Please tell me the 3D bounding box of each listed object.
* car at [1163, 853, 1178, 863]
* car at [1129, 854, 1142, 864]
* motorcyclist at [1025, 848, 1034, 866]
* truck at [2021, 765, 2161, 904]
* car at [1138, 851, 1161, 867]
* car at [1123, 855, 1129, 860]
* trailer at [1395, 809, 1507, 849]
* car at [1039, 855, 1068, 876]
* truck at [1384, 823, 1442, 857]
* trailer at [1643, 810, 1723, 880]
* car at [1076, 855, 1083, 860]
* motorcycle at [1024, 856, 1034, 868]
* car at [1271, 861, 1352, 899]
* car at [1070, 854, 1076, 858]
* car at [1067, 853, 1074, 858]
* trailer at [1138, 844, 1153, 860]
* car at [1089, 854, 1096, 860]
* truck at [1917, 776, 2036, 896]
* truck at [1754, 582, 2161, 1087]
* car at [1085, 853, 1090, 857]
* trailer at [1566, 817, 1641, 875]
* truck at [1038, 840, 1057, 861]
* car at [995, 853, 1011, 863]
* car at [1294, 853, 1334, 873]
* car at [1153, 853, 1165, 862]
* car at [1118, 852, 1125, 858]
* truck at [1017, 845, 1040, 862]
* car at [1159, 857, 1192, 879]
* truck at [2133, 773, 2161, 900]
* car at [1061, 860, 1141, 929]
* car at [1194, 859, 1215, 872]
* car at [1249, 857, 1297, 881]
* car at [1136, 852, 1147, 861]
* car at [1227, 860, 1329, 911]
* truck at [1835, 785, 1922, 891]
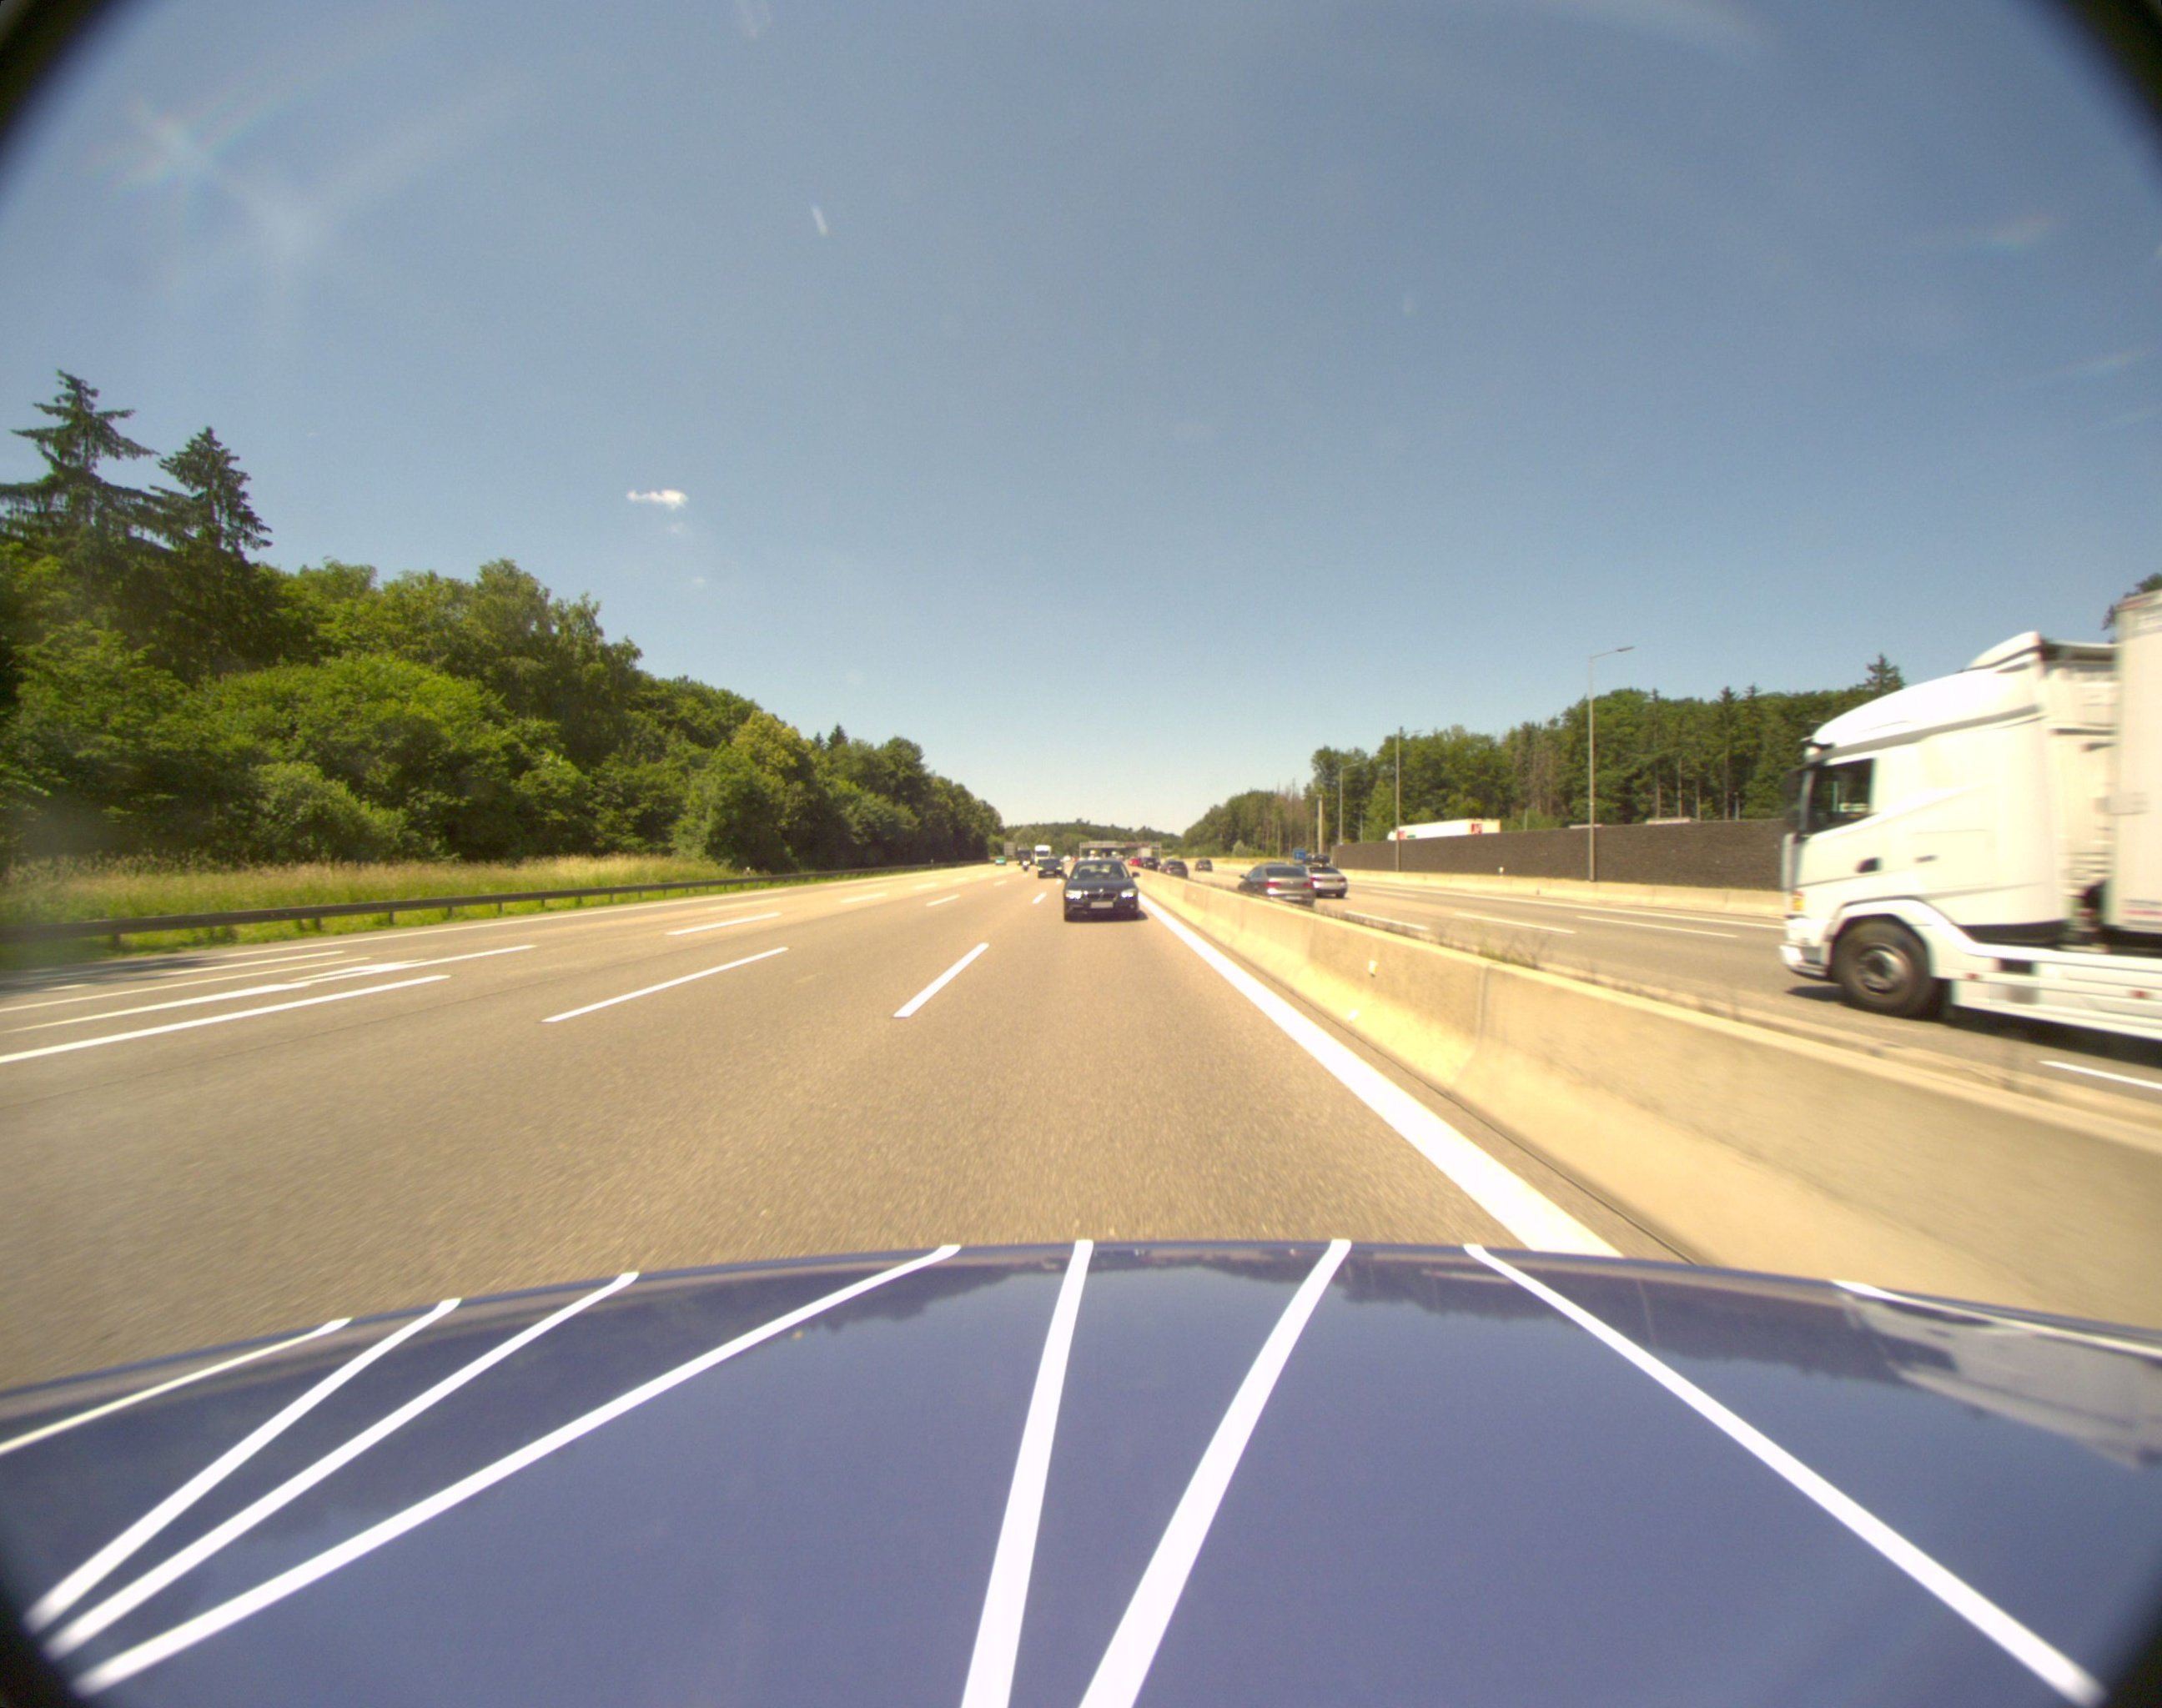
[{"bbox_3d":[15.701,0.703,133.352,1.998,1.763,5.923,0,0,1],"label":"car"},{"bbox_3d":[8.581,0.781,119.966,1.735,1.505,5.044,0,0,1],"label":"car"},{"bbox_3d":[-5.647,0.334,82.927,0.914,1.926,0.905,0,1,1],"label":"motorcyclist"},{"bbox_3d":[46.945,-0.809,35.121,11.562,5.580,3.219,0,1,-45],"label":"truck"},{"bbox_3d":[7.501,0.564,83.423,1.998,1.653,5.754,1,0,0],"label":"car"},{"bbox_3d":[15.884,1.341,267.094,1.999,1.660,4.611,1,0,0],"label":"car"},{"bbox_3d":[32.150,-2.006,67.211,2.979,3.106,14.609,0,0,1],"label":"trailer"},{"bbox_3d":[-1.931,0.785,54.811,1.834,1.454,4.204,1,0,1],"label":"car"},{"bbox_3d":[32.054,-1.310,73.663,2.934,3.106,6.202,0,0,1],"label":"truck"},{"bbox_3d":[48.676,-0.667,61.193,14.597,5.043,3.214,0,1,-44],"label":"trailer"},{"bbox_3d":[-0.344,0.946,203.014,1.910,1.450,4.127,1,0,1],"label":"car"},{"bbox_3d":[-5.661,0.888,83.069,0.925,1.310,2.998,0,0,1],"label":"motorcycle"},{"bbox_3d":[10.214,1.106,34.112,1.999,1.478,5.018,2,0,-1],"label":"car"},{"bbox_3d":[-2.793,0.579,261.812,1.910,1.450,4.127,1,0,1],"label":"car"},{"bbox_3d":[-3.078,0.459,214.835,1.747,1.529,4.127,1,0,3],"label":"car"},{"bbox_3d":[16.549,-0.599,196.563,2.761,3.978,14.467,0,0,1],"label":"trailer"},{"bbox_3d":[3.470,0.899,224.378,1.998,1.935,4.128,0,-1,2],"label":"car"},{"bbox_3d":[47.454,-0.836,40.623,11.562,5.580,3.219,0,1,-45],"label":"truck"},{"bbox_3d":[10.324,-0.148,6.425,3.055,4.113,6.948,1,0,0],"label":"truck"},{"bbox_3d":[2.140,0.274,248.840,1.910,1.450,4.127,1,0,0],"label":"car"},{"bbox_3d":[49.980,-0.719,72.422,14.597,5.043,3.121,0,1,-44],"label":"trailer"},{"bbox_3d":[-5.426,-0.561,122.758,2.428,3.237,8.690,1,0,1],"label":"truck"},{"bbox_3d":[-13.088,0.694,127.819,1.998,1.670,4.127,1,0,3],"label":"car"},{"bbox_3d":[19.152,0.725,62.591,1.999,1.611,4.213,0,0,-1],"label":"car"},{"bbox_3d":[16.731,0.761,162.897,1.998,1.763,5.038,0,0,1],"label":"car"},{"bbox_3d":[11.450,0.375,213.794,1.788,1.633,5.463,0,0,1],"label":"car"},{"bbox_3d":[-9.004,-0.056,131.518,2.660,2.839,10.887,1,0,3],"label":"truck"},{"bbox_3d":[6.998,1.037,56.747,1.875,1.538,4.591,0,0,-1],"label":"car"},{"bbox_3d":[48.199,-0.776,31.641,11.562,5.580,3.358,0,1,-45],"label":"truck"},{"bbox_3d":[0.522,0.919,19.215,1.741,1.450,4.543,-2,0,2],"label":"car"},{"bbox_3d":[15.261,1.393,94.071,1.726,1.546,4.057,0,0,-2],"label":"car"},{"bbox_3d":[13.983,1.051,55.638,1.999,1.611,5.754,0,0,0],"label":"car"},{"bbox_3d":[12.868,0.494,162.804,1.998,1.763,5.923,0,0,1],"label":"car"},{"bbox_3d":[6.392,0.955,25.305,1.999,1.478,5.135,0,0,-1],"label":"car"},{"bbox_3d":[46.008,-0.862,43.997,8.506,5.580,3.219,0,1,-45],"label":"truck"}]
